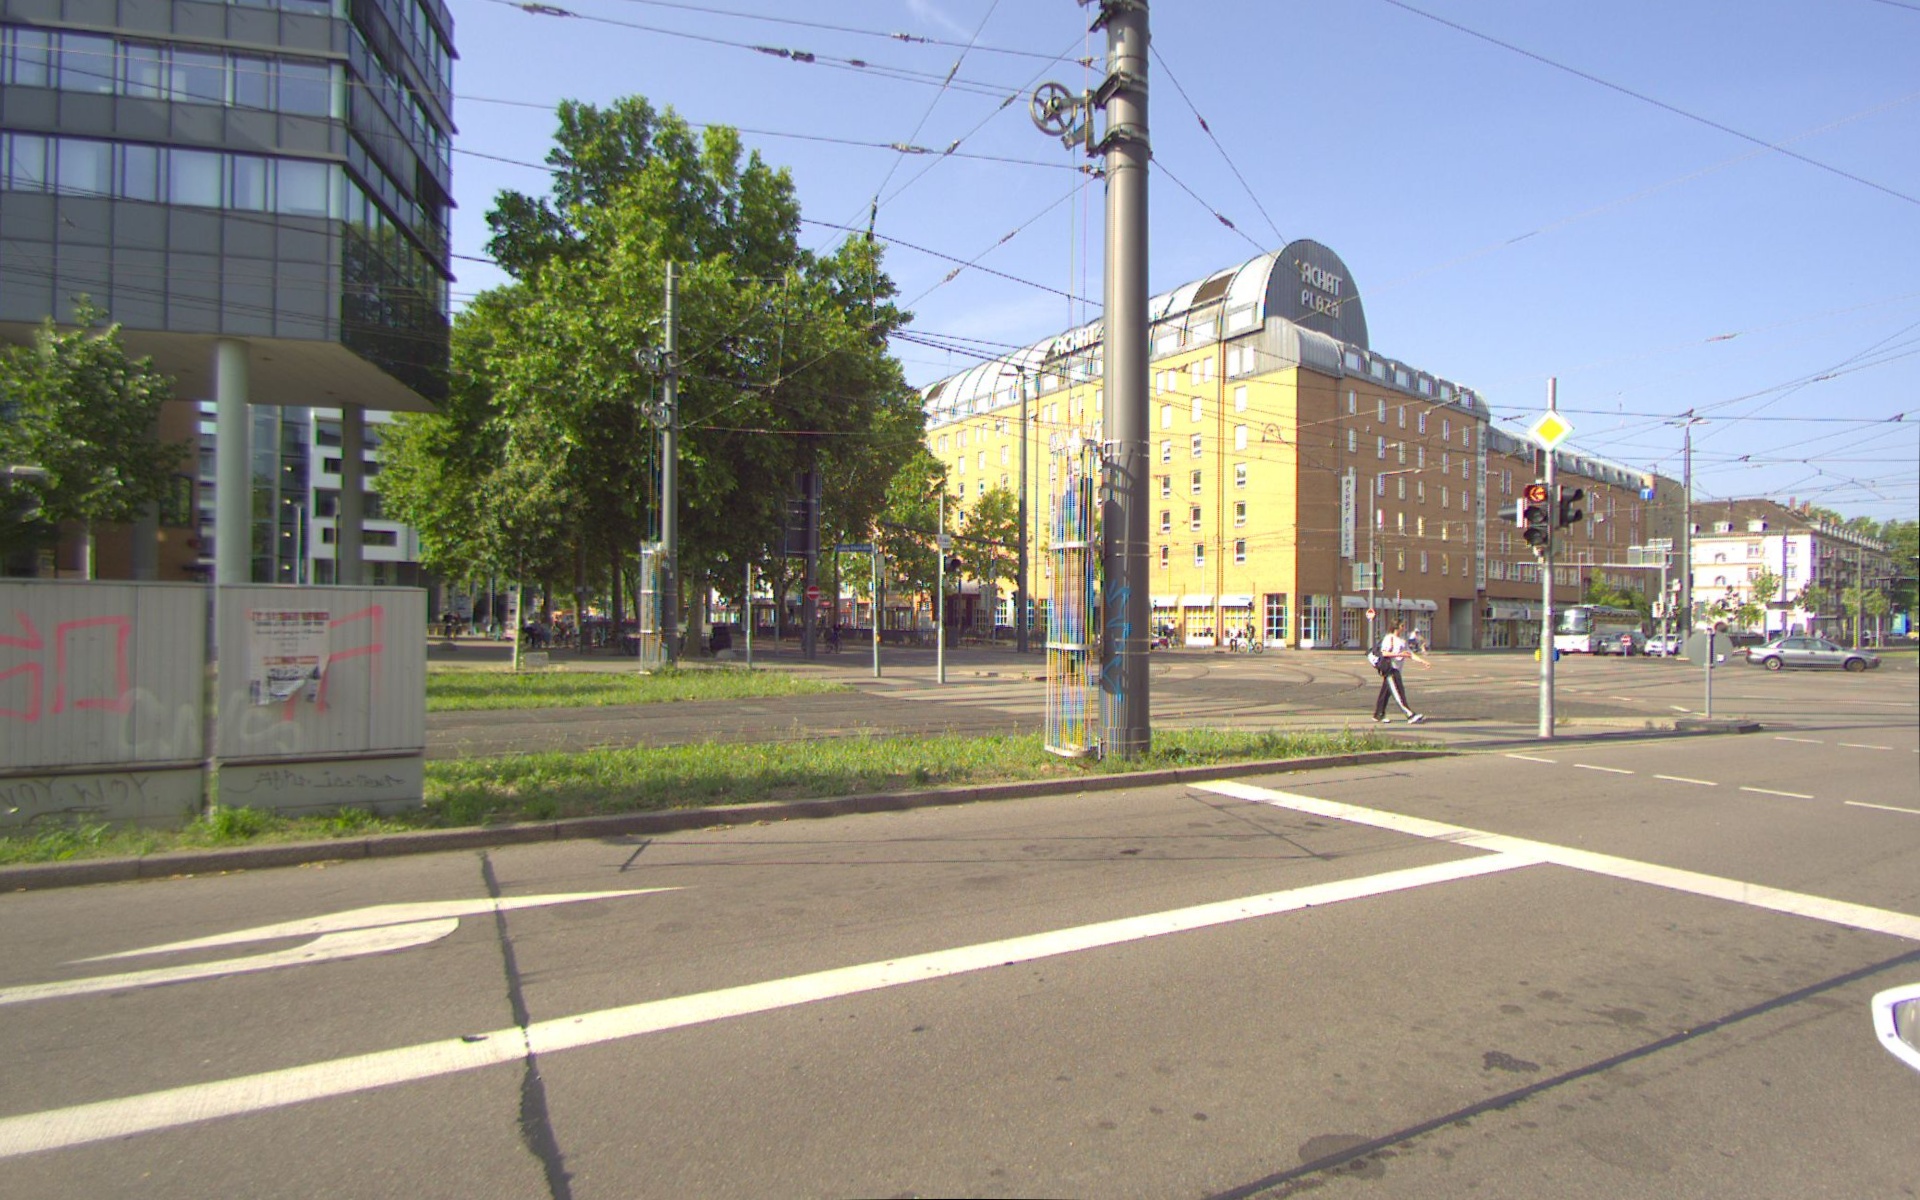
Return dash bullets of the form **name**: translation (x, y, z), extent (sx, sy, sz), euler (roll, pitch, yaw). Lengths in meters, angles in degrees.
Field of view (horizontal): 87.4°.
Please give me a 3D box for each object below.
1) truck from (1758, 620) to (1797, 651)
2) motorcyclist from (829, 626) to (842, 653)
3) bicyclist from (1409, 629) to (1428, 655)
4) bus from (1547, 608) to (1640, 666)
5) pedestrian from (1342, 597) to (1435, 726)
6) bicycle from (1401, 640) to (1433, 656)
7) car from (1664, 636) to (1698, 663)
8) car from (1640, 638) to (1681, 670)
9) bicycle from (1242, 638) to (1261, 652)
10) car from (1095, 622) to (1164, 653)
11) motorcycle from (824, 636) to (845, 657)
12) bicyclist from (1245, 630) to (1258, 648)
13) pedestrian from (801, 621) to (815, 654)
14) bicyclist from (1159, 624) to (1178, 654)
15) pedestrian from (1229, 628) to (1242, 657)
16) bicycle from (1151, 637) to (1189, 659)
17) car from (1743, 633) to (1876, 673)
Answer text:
- **truck**: translation (72.699, 3.158, 89.291), extent (4.704, 2.632, 1.976), euler (4, -3, -41)
- **motorcyclist**: translation (-6.337, 2.018, 51.055), extent (0.414, 1.339, 0.527), euler (3, -2, -36)
- **bicyclist**: translation (30.541, 2.812, 66.952), extent (0.666, 1.718, 0.977), euler (3, -2, -44)
- **bus**: translation (47.873, 2.879, 75.682), extent (12.127, 3.972, 2.722), euler (4, -3, -42)
- **pedestrian**: translation (7.051, 0.995, 16.562), extent (0.768, 2.040, 1.149), euler (3, -2, -32)
- **bicycle**: translation (30.490, 3.180, 66.985), extent (0.417, 0.982, 1.941), euler (3, -3, -43)
- **car**: translation (50.617, 3.461, 70.514), extent (2.585, 1.783, 1.200), euler (3, -2, -37)
- **car**: translation (46.410, 3.578, 66.502), extent (2.708, 2.040, 1.588), euler (4, -2, -40)
- **bicycle**: translation (18.895, 2.925, 65.106), extent (1.381, 0.883, 0.344), euler (3, -2, -31)
- **car**: translation (11.613, 2.549, 68.992), extent (1.981, 2.040, 4.568), euler (1, -1, -36)
- **motorcycle**: translation (-6.402, 2.361, 51.117), extent (0.281, 1.008, 1.678), euler (3, -2, -35)
- **bicyclist**: translation (18.924, 2.520, 65.129), extent (0.603, 1.144, 0.519), euler (3, -2, -30)
- **pedestrian**: translation (-8.118, 2.000, 53.798), extent (0.504, 1.748, 0.527), euler (3, -2, -36)
- **bicyclist**: translation (12.690, 2.365, 61.125), extent (0.951, 1.769, 0.665), euler (2, -2, -15)
- **pedestrian**: translation (18.641, 2.865, 68.023), extent (0.735, 1.978, 0.883), euler (0, -1, 23)
- **bicycle**: translation (12.779, 2.924, 61.131), extent (2.249, 1.222, 0.548), euler (2, -2, -15)
- **car**: translation (35.354, 2.196, 41.959), extent (4.157, 1.506, 1.991), euler (0, -3, 40)
